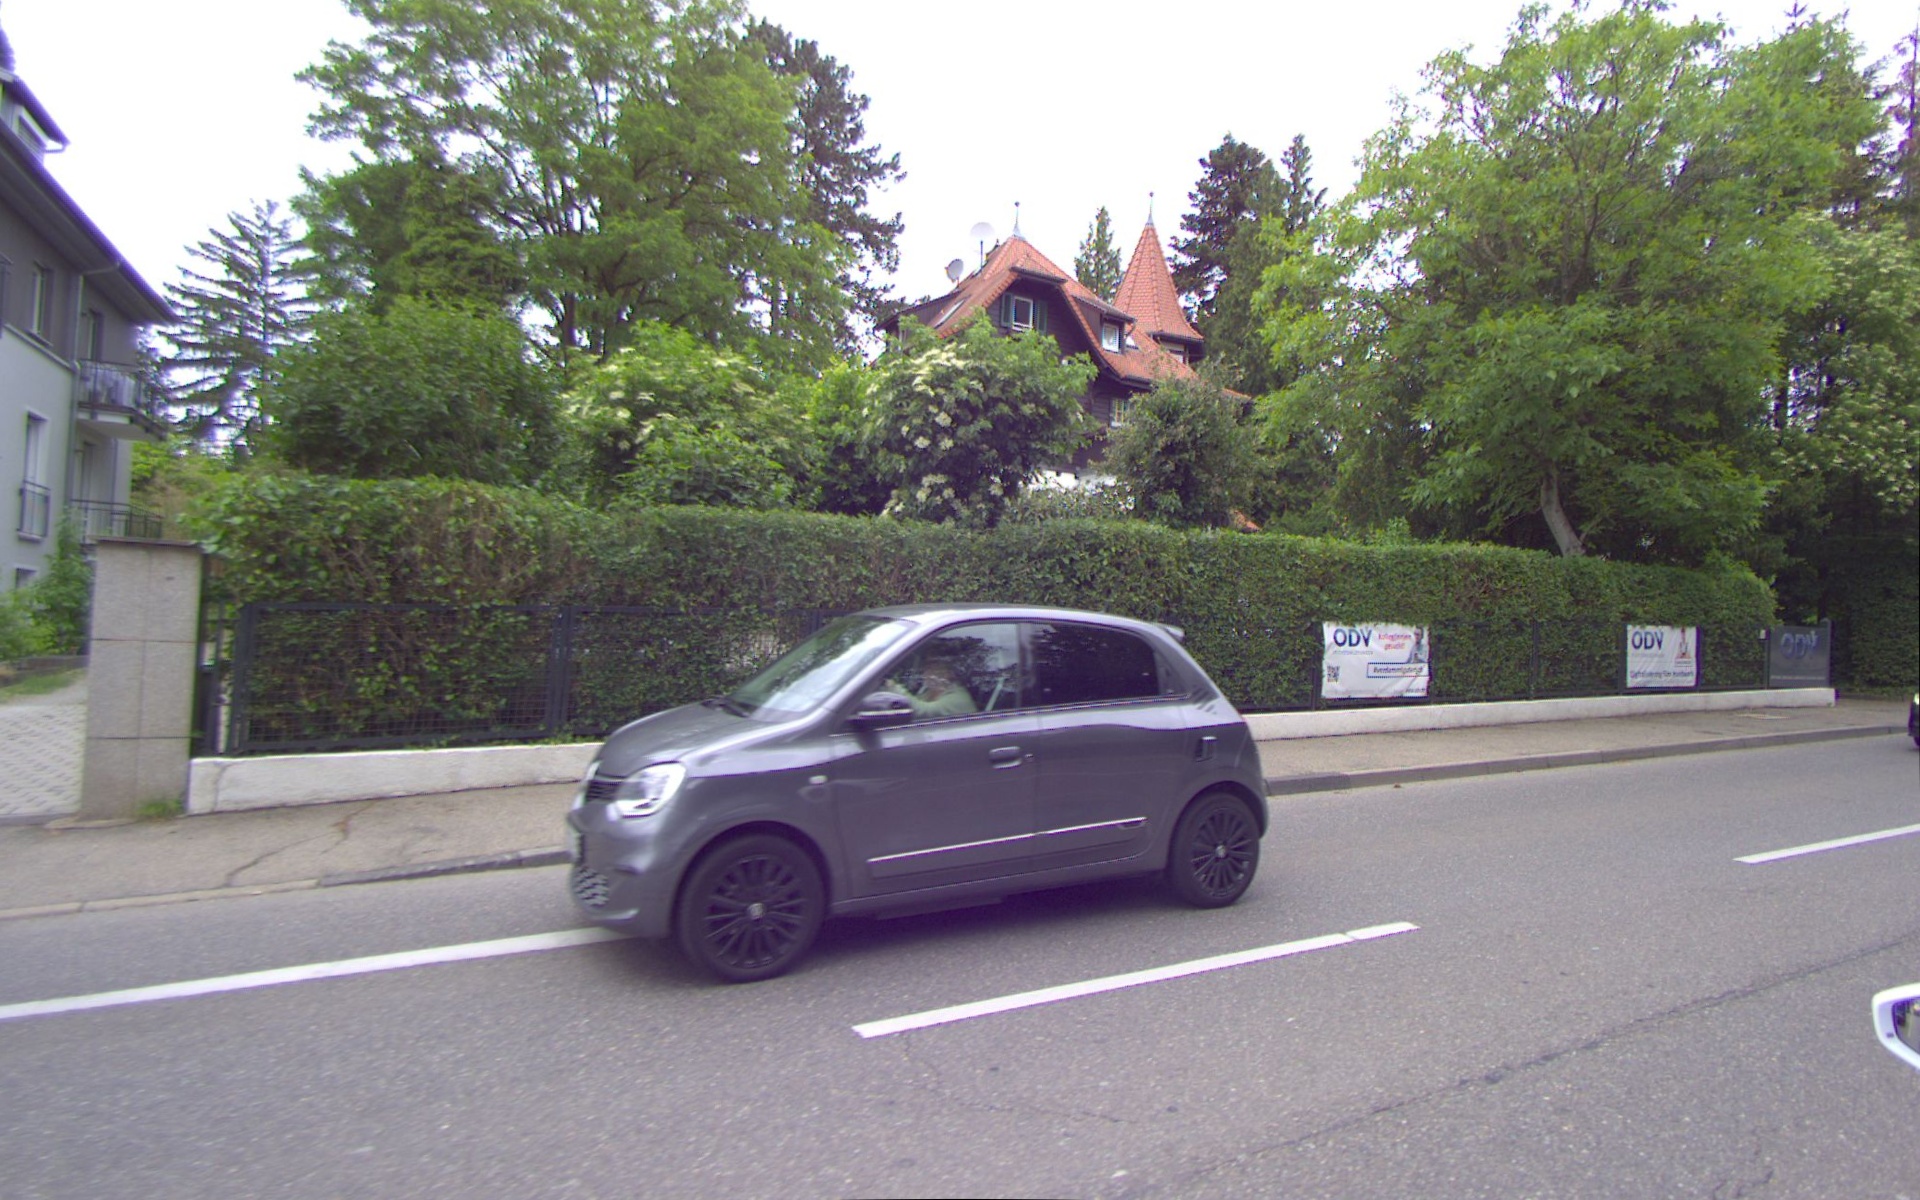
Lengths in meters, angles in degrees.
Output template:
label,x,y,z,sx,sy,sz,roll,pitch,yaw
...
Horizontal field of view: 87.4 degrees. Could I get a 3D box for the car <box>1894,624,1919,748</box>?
label,x,y,z,sx,sy,sz,roll,pitch,yaw
car,13.504,1.049,12.448,3.968,1.491,1.674,1,-2,-29

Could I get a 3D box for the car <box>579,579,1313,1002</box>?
label,x,y,z,sx,sy,sz,roll,pitch,yaw
car,-0.027,0.749,5.269,3.493,1.539,1.677,1,-2,-29
